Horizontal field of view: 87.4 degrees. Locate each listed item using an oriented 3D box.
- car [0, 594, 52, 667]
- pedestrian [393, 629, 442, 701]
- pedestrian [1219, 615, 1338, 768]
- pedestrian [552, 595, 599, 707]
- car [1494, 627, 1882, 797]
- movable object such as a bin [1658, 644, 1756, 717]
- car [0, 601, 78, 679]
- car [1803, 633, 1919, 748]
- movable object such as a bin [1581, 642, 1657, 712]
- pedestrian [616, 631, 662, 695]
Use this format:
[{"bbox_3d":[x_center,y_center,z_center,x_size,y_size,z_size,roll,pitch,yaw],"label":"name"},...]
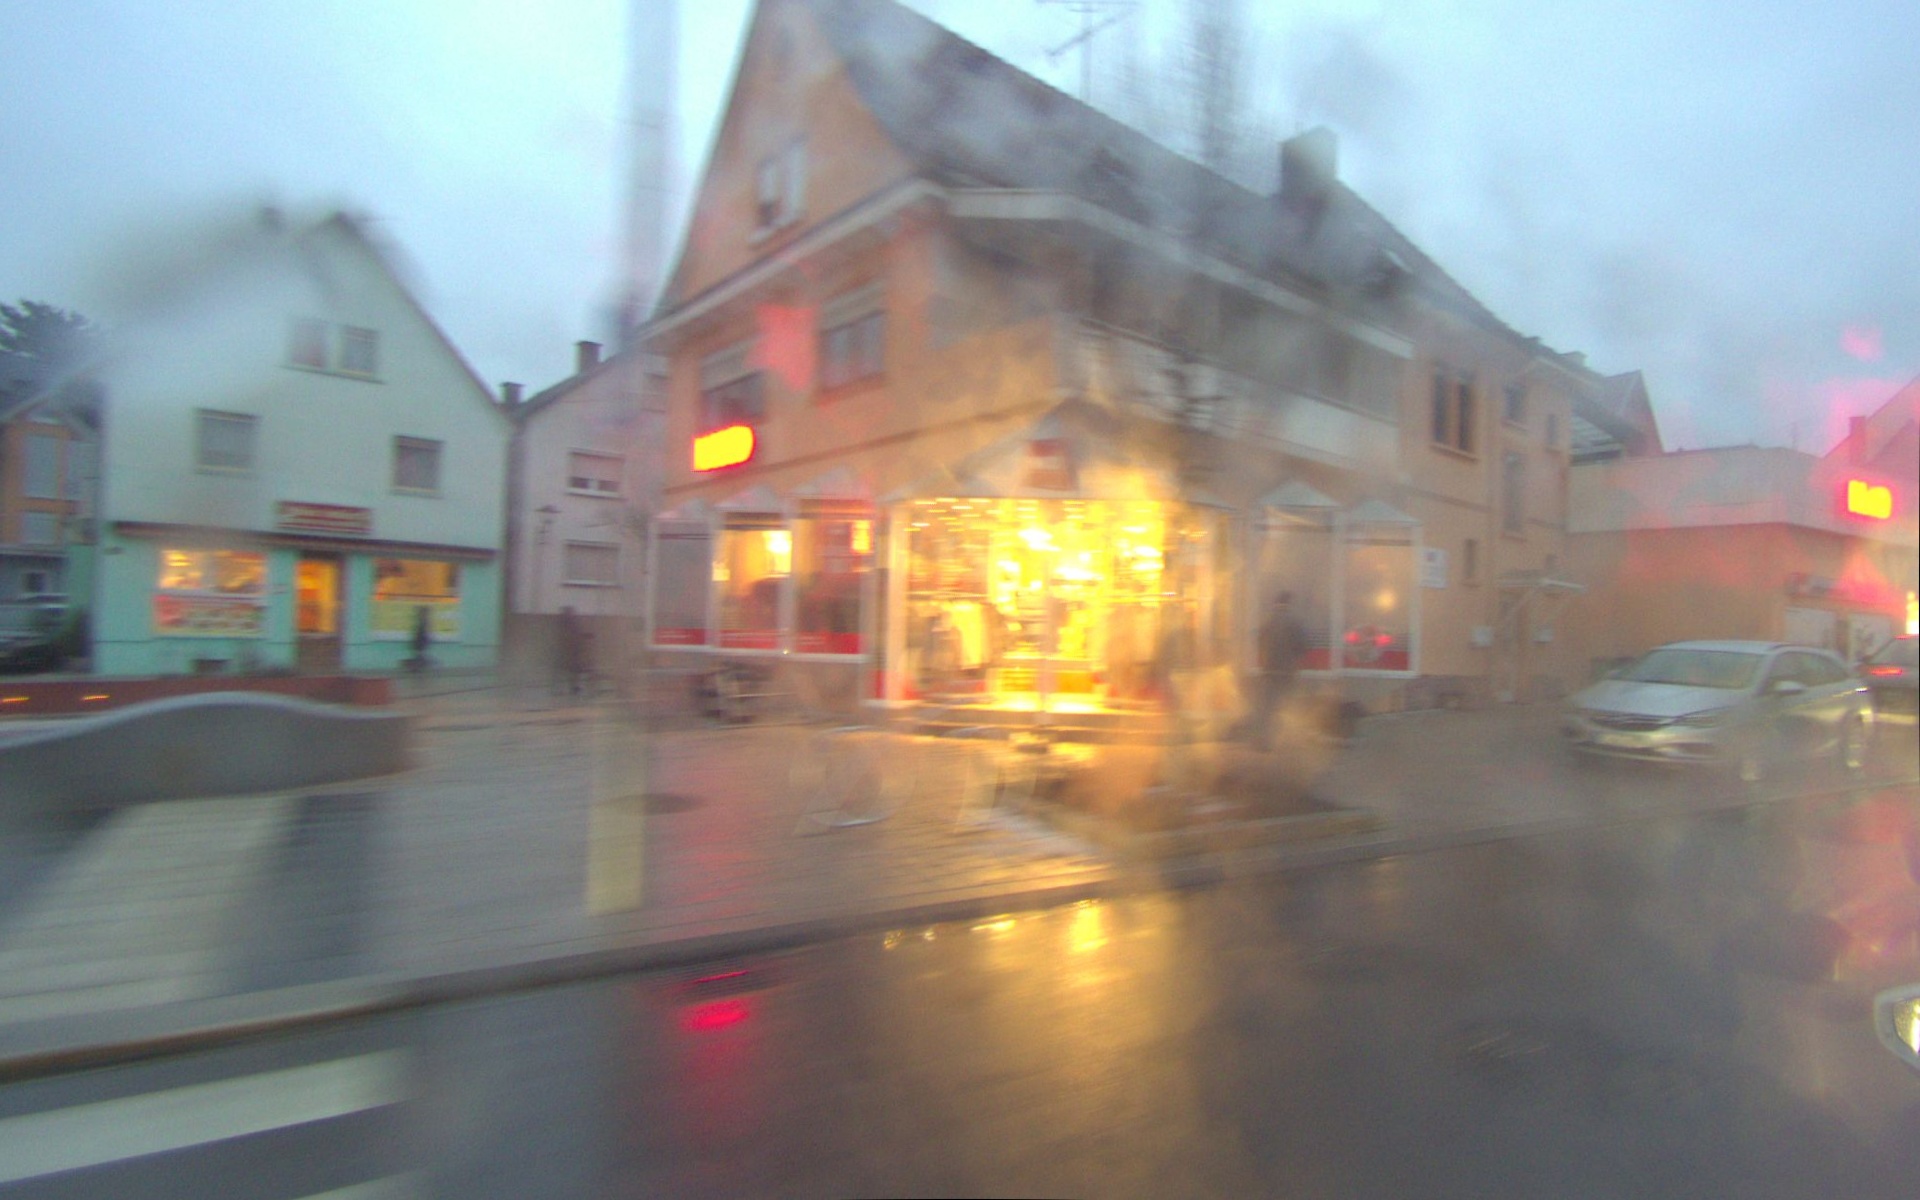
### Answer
[{"bbox_3d":[-25.893,0.800,27.349,1.556,1.881,3.274,2,-1,-40],"label":"car"},{"bbox_3d":[-13.418,1.605,24.844,0.835,1.738,0.908,2,-3,-43],"label":"pedestrian"},{"bbox_3d":[3.738,1.032,11.777,1.088,1.680,0.820,2,0,-38],"label":"pedestrian"},{"bbox_3d":[-7.223,0.932,18.858,0.726,2.040,0.821,2,0,-24],"label":"pedestrian"},{"bbox_3d":[8.538,1.165,11.706,4.567,1.579,1.984,2,0,-30],"label":"car"},{"bbox_3d":[14.667,1.572,19.733,0.882,1.371,1.330,3,-5,-39],"label":"movable object such as a bin"},{"bbox_3d":[-21.196,0.858,22.405,1.967,1.624,3.957,2,-2,-37],"label":"car"},{"bbox_3d":[15.051,1.330,15.222,4.920,1.542,1.984,2,-1,-31],"label":"car"},{"bbox_3d":[13.740,1.581,20.953,0.845,1.372,1.140,2,-1,-40],"label":"movable object such as a bin"},{"bbox_3d":[-6.670,1.289,20.898,0.674,1.262,0.826,2,0,-3],"label":"pedestrian"}]
